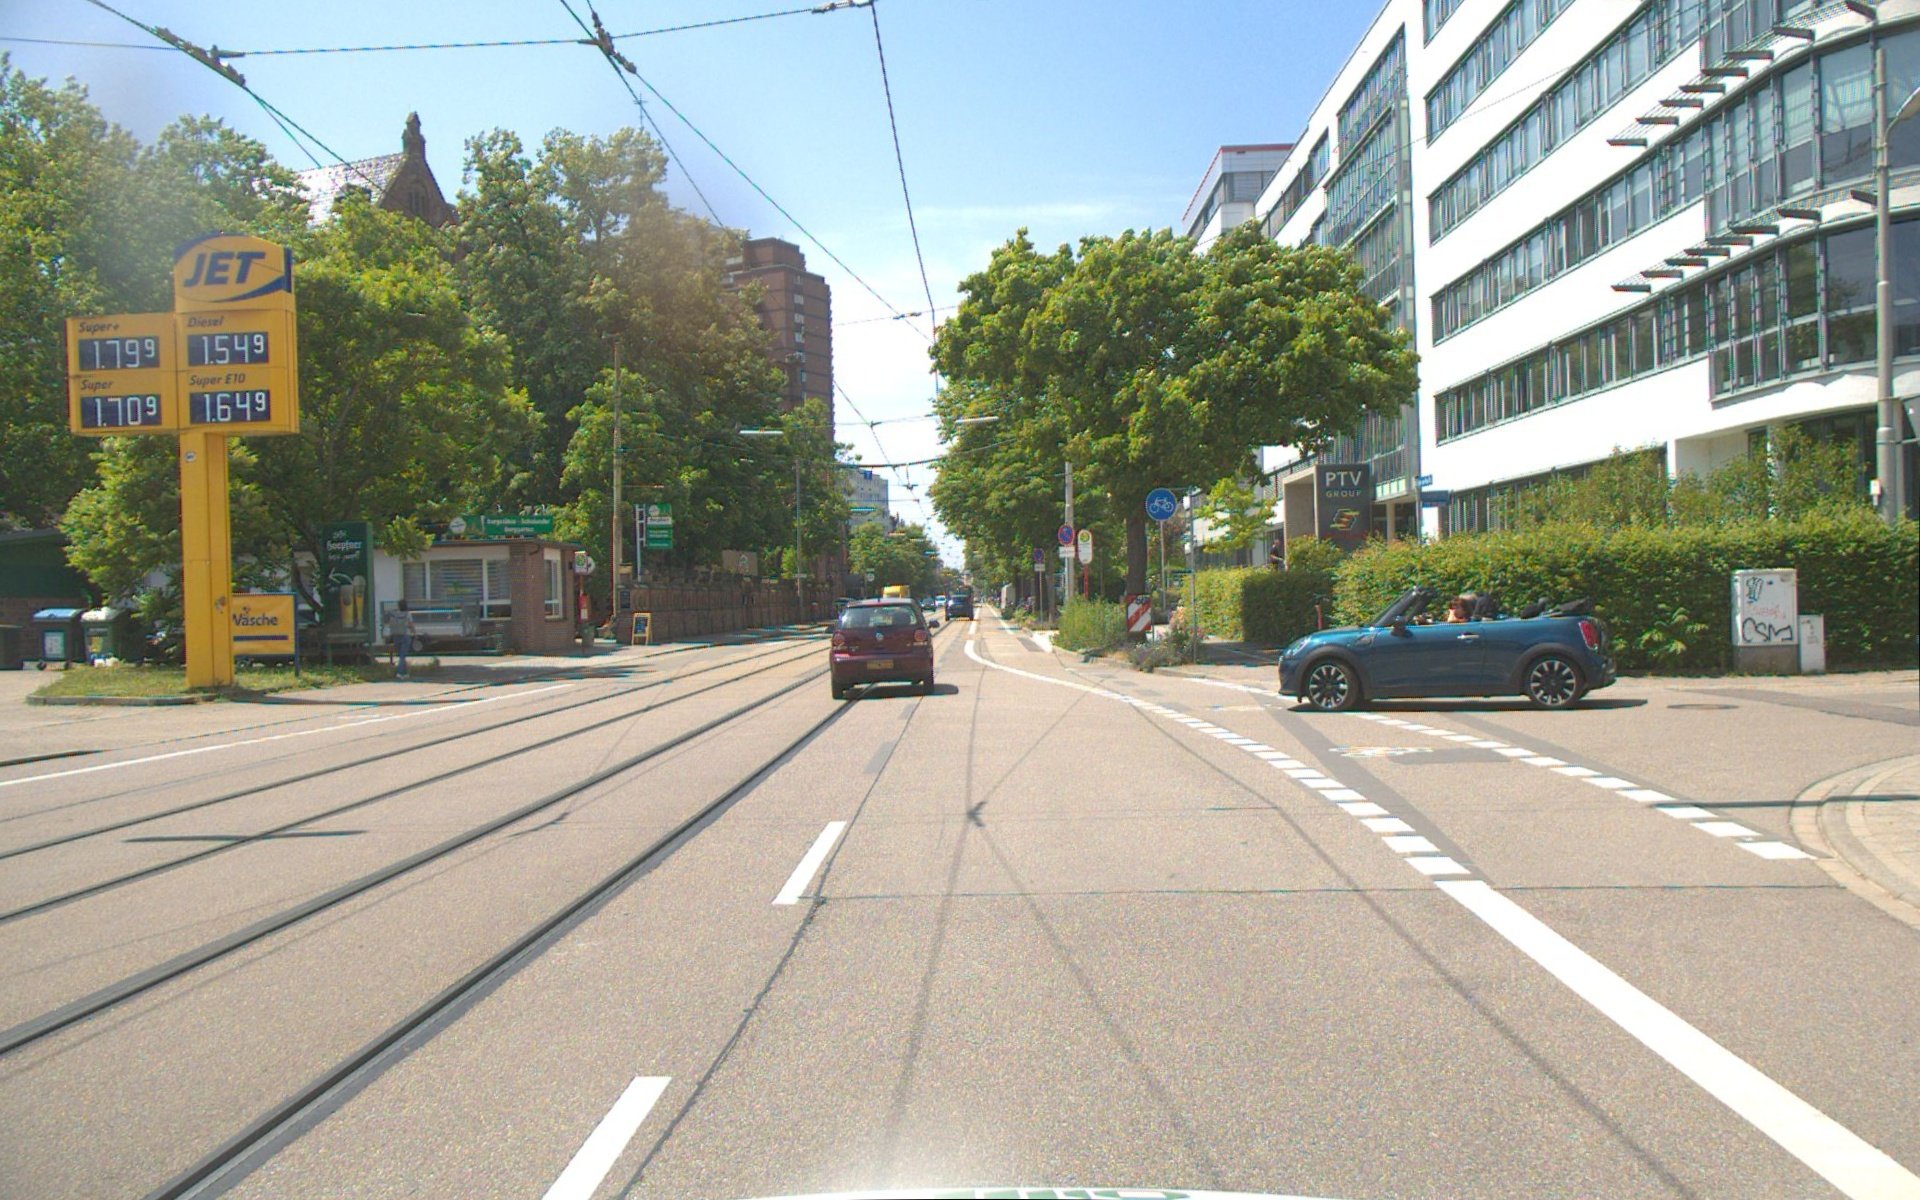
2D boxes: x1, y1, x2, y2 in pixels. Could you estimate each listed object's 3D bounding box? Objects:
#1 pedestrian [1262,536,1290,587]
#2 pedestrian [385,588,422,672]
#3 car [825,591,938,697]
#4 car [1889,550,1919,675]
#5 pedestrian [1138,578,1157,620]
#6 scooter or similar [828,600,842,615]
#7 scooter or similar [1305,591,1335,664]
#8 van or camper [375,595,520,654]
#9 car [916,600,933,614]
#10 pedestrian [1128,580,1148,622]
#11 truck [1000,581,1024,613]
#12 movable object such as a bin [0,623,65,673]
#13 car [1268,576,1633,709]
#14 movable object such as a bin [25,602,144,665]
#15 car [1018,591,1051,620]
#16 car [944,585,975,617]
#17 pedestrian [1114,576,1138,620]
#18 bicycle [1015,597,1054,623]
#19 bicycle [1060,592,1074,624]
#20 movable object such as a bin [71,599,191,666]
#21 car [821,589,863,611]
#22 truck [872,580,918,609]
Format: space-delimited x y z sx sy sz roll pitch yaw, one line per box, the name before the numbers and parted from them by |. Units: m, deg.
pedestrian | 11.289 -1.380 59.074 0.855 1.744 1.090 -3 -1 9
pedestrian | -12.106 0.638 35.982 0.568 1.806 0.699 0 0 -3
car | -1.191 0.639 26.546 1.586 1.512 4.000 -2 0 0
car | 13.420 0.079 19.322 4.061 1.485 1.819 -2 0 4
pedestrian | 7.992 -0.042 70.489 0.531 1.744 0.560 -3 -1 -29
scooter or similar | -10.326 0.630 136.726 1.072 1.175 0.524 0 0 -21
scooter or similar | 6.363 0.475 29.214 0.319 1.244 1.152 0 0 22
van or camper | -15.289 0.724 49.490 3.706 1.657 1.872 0 1 0
car | -4.202 0.849 196.263 1.734 1.542 4.000 -2 0 1
pedestrian | 7.521 0.050 69.959 0.531 1.744 0.560 -3 -1 -29
truck | 4.457 -0.281 142.697 1.952 2.708 4.875 0 0 0
movable object such as a bin | -23.265 1.169 40.811 1.376 1.157 1.563 0 0 25
car | 5.702 0.498 19.247 3.836 1.395 1.702 -2 0 25
movable object such as a bin | -21.347 0.801 40.364 1.491 1.457 2.098 0 0 25
car | 4.154 0.300 93.188 1.654 1.529 3.627 -3 0 0
car | -0.066 0.059 109.982 1.953 2.049 3.999 0 0 -1
pedestrian | 7.071 -0.096 70.553 0.671 1.827 0.668 -3 0 -31
bicycle | 3.625 0.493 80.685 1.845 1.203 0.694 -2 0 0
bicycle | 6.162 0.468 95.166 0.675 1.816 1.811 -3 -1 4
movable object such as a bin | -19.907 0.752 39.765 1.491 1.535 2.098 0 0 25
car | -11.855 -0.010 166.185 3.903 2.049 2.001 -2 0 5
truck | -6.495 -0.600 166.436 2.319 2.835 7.325 -2 0 16
